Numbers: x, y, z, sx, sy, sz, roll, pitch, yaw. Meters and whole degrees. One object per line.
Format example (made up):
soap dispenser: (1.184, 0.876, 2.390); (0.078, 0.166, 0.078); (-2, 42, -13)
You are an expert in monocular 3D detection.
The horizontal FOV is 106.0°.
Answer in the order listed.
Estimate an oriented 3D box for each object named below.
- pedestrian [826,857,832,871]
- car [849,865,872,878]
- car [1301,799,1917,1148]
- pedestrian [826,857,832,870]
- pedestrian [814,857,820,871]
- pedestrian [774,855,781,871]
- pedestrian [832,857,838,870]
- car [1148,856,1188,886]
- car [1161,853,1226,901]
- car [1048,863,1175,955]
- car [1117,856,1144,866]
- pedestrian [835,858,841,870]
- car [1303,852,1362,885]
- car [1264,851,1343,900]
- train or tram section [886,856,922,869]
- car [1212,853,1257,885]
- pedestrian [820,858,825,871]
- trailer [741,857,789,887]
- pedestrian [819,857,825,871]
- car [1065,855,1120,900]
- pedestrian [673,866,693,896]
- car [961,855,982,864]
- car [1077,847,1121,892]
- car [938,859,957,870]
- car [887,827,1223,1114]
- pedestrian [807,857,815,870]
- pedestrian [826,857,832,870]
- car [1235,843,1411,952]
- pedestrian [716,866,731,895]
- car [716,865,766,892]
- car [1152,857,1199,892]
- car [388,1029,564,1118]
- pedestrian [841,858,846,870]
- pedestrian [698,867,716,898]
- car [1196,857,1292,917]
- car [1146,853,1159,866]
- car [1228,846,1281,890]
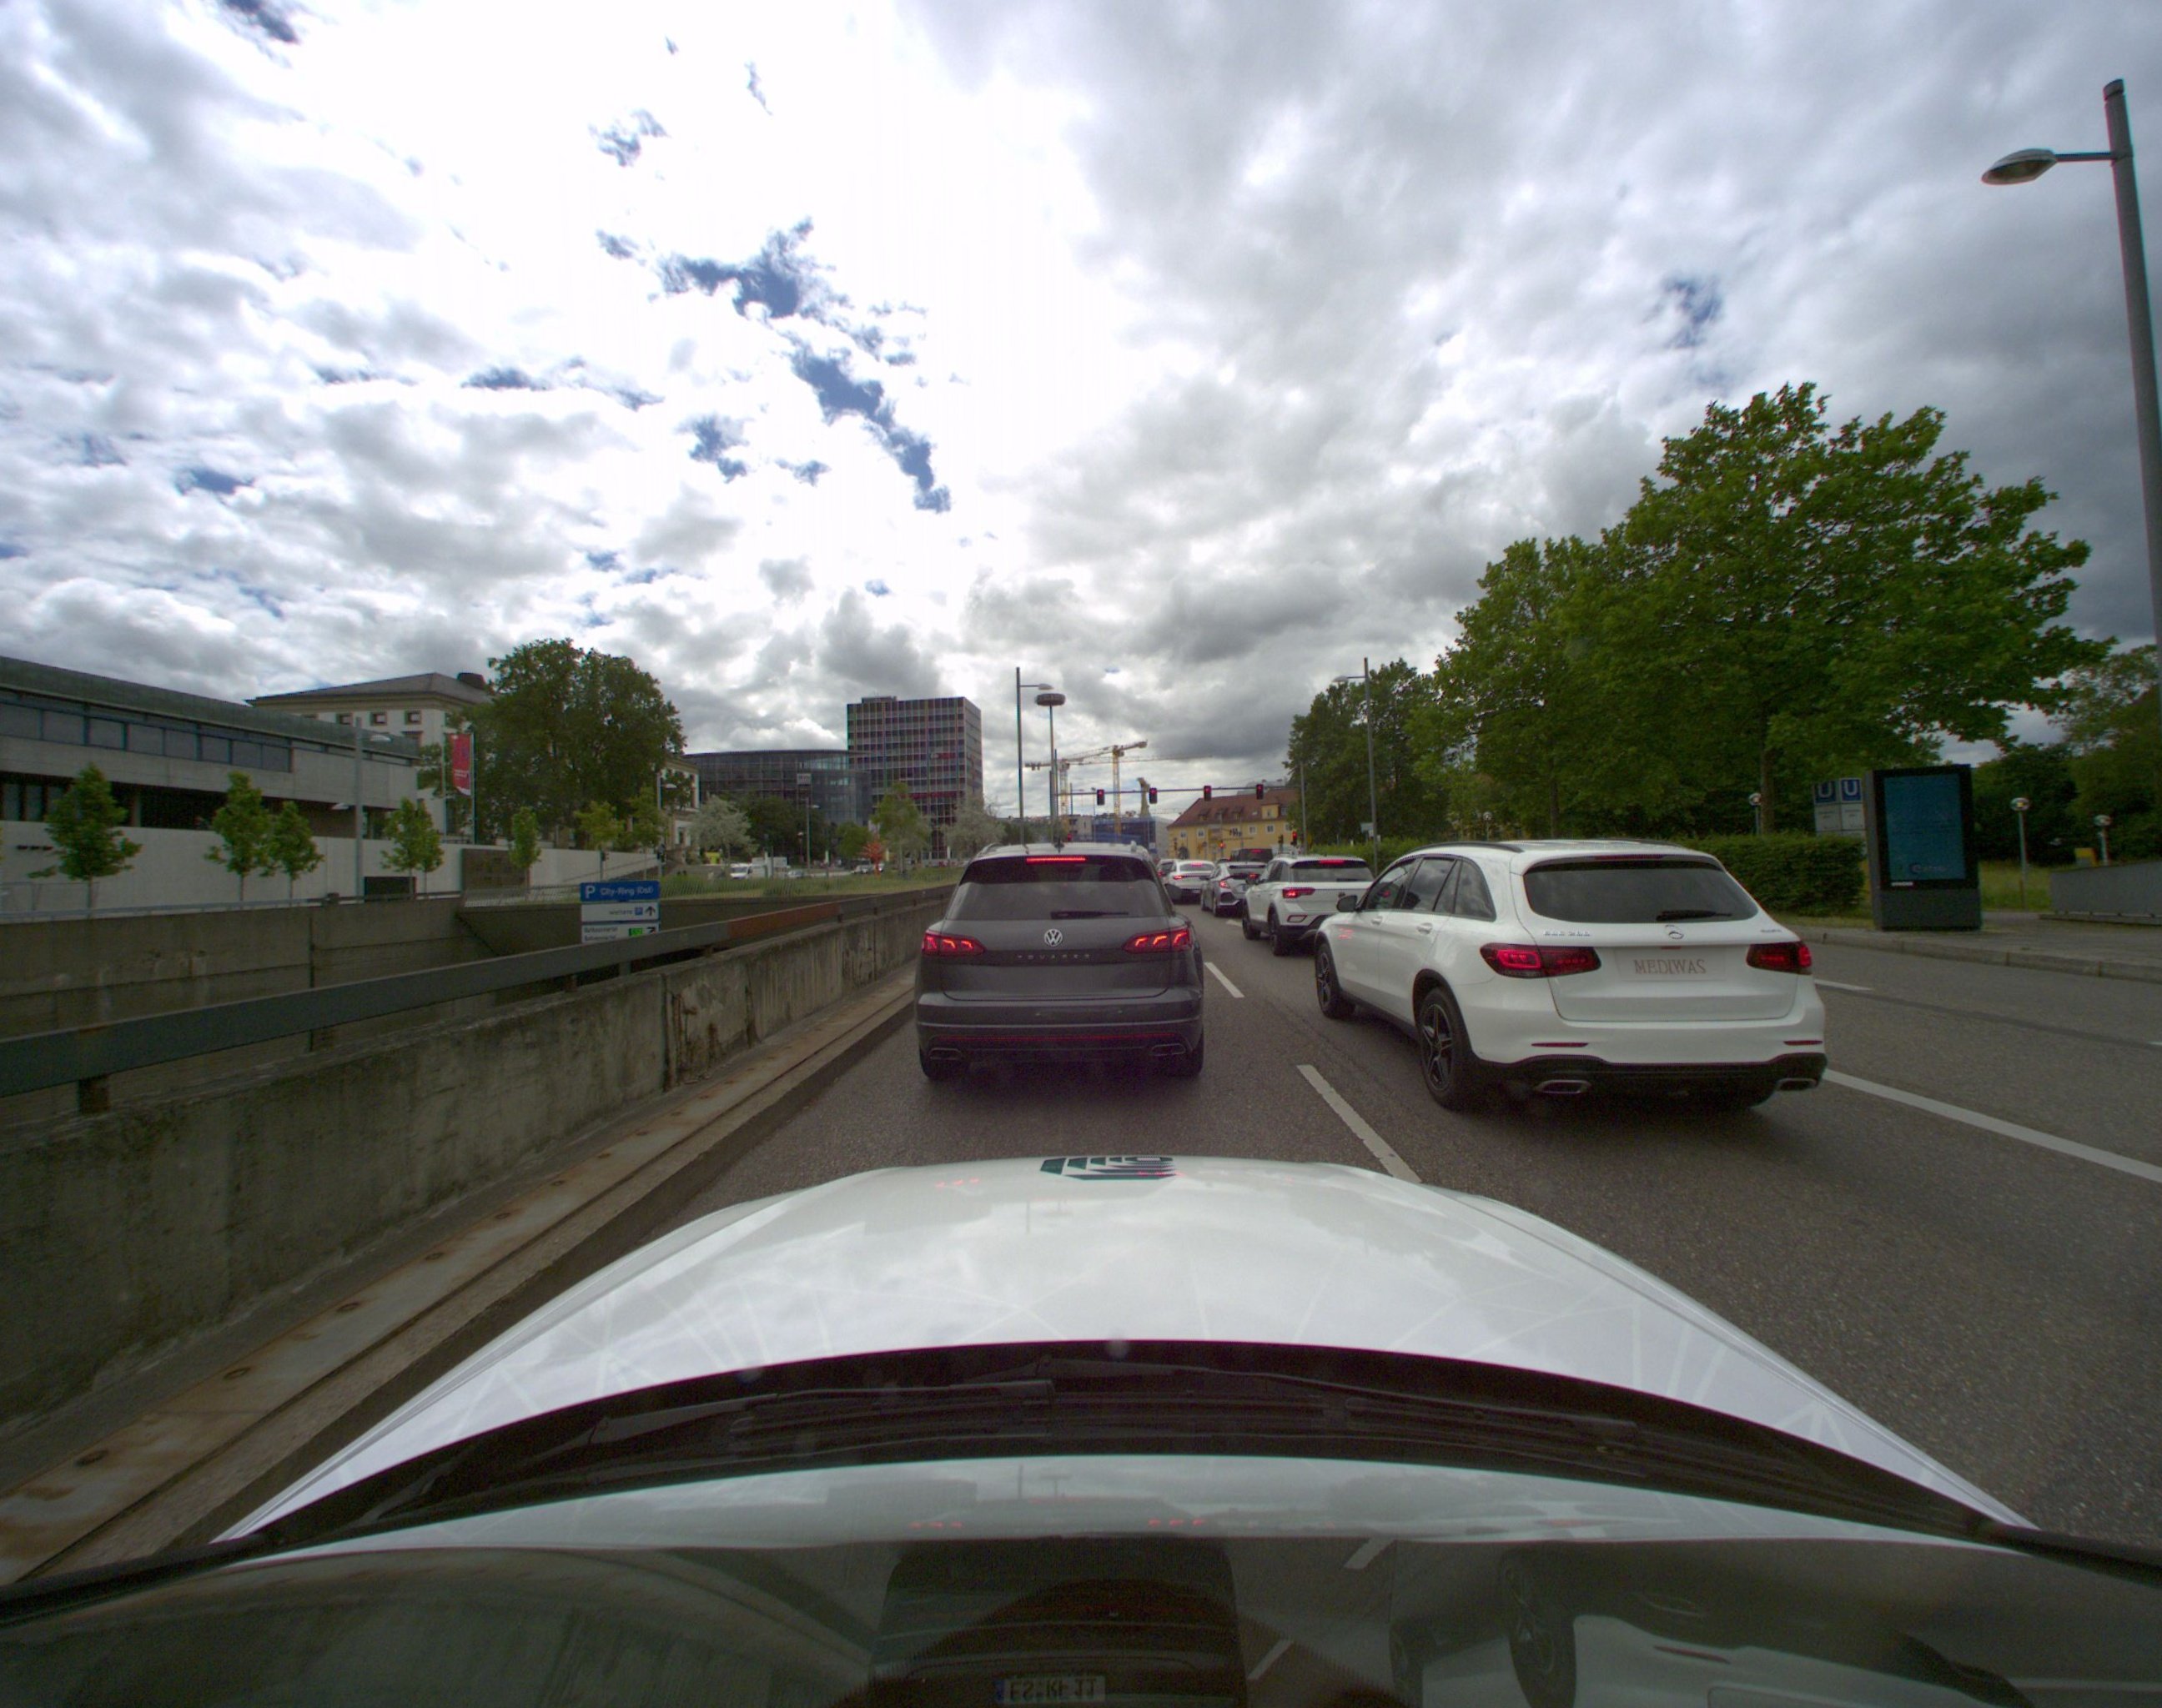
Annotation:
pedestrian: (-39.089, 1.543, 126.432); (0.740, 2.013, 0.915); (-2, 1, -17)
car: (-25.477, 2.079, 94.260); (1.727, 1.495, 3.594); (0, -2, 0)
car: (3.146, 0.601, 6.187); (1.918, 1.653, 4.493); (-1, -1, 3)
pedestrian: (-39.906, 1.500, 129.121); (0.739, 2.013, 0.789); (-2, 1, -14)
pedestrian: (-41.218, 1.551, 126.987); (0.741, 2.013, 0.914); (-2, 1, -21)
pedestrian: (-39.197, 1.105, 105.048); (0.740, 2.014, 0.788); (-1, -3, -17)
pedestrian: (-39.253, 1.530, 130.085); (0.739, 2.013, 0.789); (-2, 1, -14)
car: (4.657, 0.920, 44.069); (1.918, 1.529, 4.050); (-1, -1, 3)
car: (3.903, 0.788, 28.969); (1.918, 1.529, 4.493); (-1, -1, 3)
car: (0.525, 0.874, 14.513); (1.944, 1.384, 3.932); (0, 0, 1)
car: (8.162, 1.180, 135.087); (4.173, 1.603, 1.764); (-1, -2, 38)
pedestrian: (-41.678, 1.758, 139.708); (0.739, 2.013, 0.789); (-2, 1, -14)
car: (11.804, 0.720, 38.482); (1.921, 1.460, 4.536); (0, -1, 7)
car: (8.132, 0.728, 30.188); (1.985, 1.640, 4.309); (-1, 0, 4)
train or tram section: (-42.556, 1.971, 195.961); (8.836, 3.010, 2.612); (-1, -2, 30)
car: (8.342, 0.813, 44.642); (1.902, 1.697, 4.014); (0, -1, 3)
pedestrian: (-40.367, 1.577, 127.149); (0.741, 2.013, 1.076); (-2, 1, -20)
trailer: (-28.755, 1.606, 74.382); (2.030, 2.604, 5.511); (0, 0, 2)
pedestrian: (-40.055, 1.529, 126.036); (0.740, 2.013, 0.915); (-2, 1, -17)
car: (0.476, 0.868, 31.156); (1.944, 1.600, 3.932); (0, 0, 1)
pedestrian: (-27.015, 1.844, 55.290); (0.783, 2.013, 0.842); (-2, 0, 25)
car: (-24.954, 1.184, 185.194); (4.402, 2.014, 2.012); (-1, -2, 36)
car: (0.873, 0.705, 38.688); (1.944, 2.018, 3.932); (0, 0, 1)
car: (-25.726, 1.922, 156.551); (2.007, 2.013, 4.646); (-2, 1, -31)
car: (-0.098, 0.698, 6.788); (1.944, 1.651, 4.001); (-1, 0, 1)
pedestrian: (-40.834, 1.406, 123.168); (0.735, 2.013, 0.793); (-2, 1, 2)
pedestrian: (-39.556, 1.462, 127.723); (0.739, 2.013, 0.789); (-2, 1, -14)
car: (3.942, 0.668, 14.091); (1.918, 1.551, 4.493); (-1, -1, 3)
pedestrian: (-26.099, 1.925, 59.389); (0.729, 2.012, 0.628); (-2, 4, -6)
car: (-28.827, 2.034, 69.249); (1.985, 2.013, 4.695); (-2, 1, 3)
car: (4.338, 0.930, 37.784); (1.918, 1.529, 4.050); (-1, -1, 3)
car: (-18.785, 6.787, 25.597); (2.155, 1.767, 4.394); (-3, -4, 1)
pedestrian: (-40.762, 1.790, 139.714); (0.739, 2.013, 0.789); (-2, 1, -14)
pedestrian: (-25.506, 1.926, 55.554); (0.867, 2.013, 0.621); (-2, 1, -42)
car: (4.316, 0.845, 22.228); (1.918, 1.432, 4.493); (-1, -1, 3)
car: (9.726, 0.774, 111.418); (1.612, 1.627, 4.002); (0, -2, 3)
car: (8.259, 0.678, 39.062); (1.902, 2.014, 4.014); (0, -1, 3)
